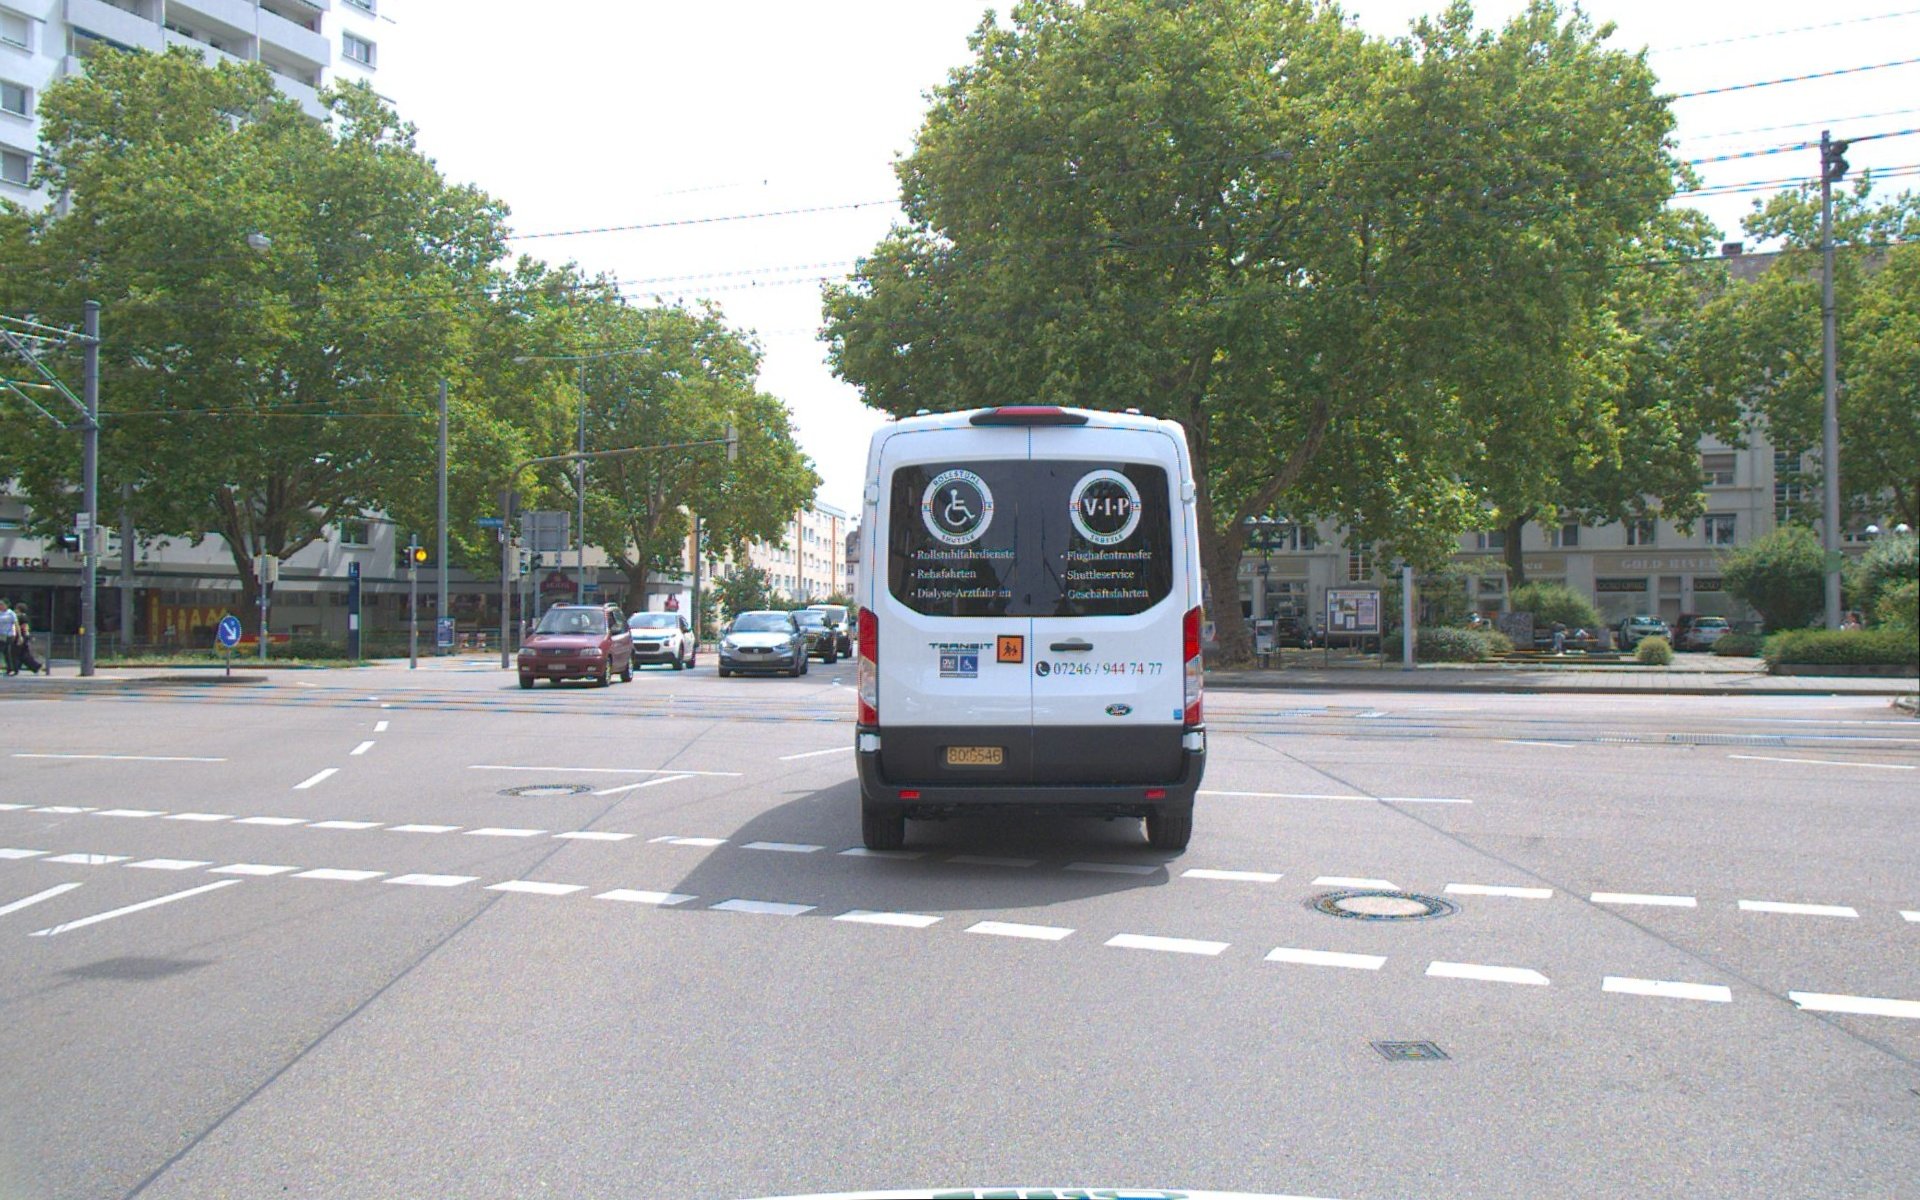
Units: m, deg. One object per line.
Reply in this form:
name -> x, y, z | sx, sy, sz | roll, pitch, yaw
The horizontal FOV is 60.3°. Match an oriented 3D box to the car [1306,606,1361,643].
car -> 17.419, 1.130, 77.284 | 1.767, 1.713, 4.001 | 0, 0, 2

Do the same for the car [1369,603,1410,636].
car -> 22.408, 1.009, 86.154 | 1.767, 1.713, 4.001 | -1, 0, 19

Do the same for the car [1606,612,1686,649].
car -> 29.790, 1.302, 71.952 | 1.952, 1.529, 4.001 | 0, 0, 2

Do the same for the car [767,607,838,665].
car -> -4.613, 1.036, 48.989 | 1.707, 1.615, 4.328 | 0, 0, 0

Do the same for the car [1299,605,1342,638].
car -> 19.122, 1.118, 87.613 | 1.767, 1.713, 4.001 | -1, 0, 19

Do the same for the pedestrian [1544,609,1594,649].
pedestrian -> 19.772, 0.949, 53.708 | 1.068, 1.257, 1.441 | -2, -1, 2

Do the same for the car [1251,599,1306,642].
car -> 14.960, 0.959, 77.784 | 1.952, 1.964, 4.001 | 0, 0, 2

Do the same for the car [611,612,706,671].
car -> -7.733, 1.032, 42.713 | 1.707, 1.452, 4.031 | 0, 0, 0

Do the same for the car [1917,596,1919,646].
car -> 38.581, 0.788, 62.548 | 3.905, 1.916, 1.857 | -1, -1, 22

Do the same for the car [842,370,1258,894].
car -> 0.336, 0.142, 11.000 | 2.138, 2.694, 4.625 | -2, 0, -4

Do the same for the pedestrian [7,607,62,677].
pedestrian -> -20.559, 0.921, 36.751 | 0.707, 1.541, 0.932 | 0, -1, -3

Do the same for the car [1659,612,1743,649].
car -> 32.009, 1.280, 71.548 | 1.952, 1.545, 4.001 | 0, 0, 2

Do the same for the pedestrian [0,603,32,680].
pedestrian -> -20.236, 0.870, 35.005 | 0.791, 1.600, 0.723 | -1, -1, 26

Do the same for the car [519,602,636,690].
car -> -7.131, 0.826, 31.129 | 1.560, 1.534, 3.804 | 0, 0, -4

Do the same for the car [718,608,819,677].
car -> -4.247, 0.926, 37.181 | 1.795, 1.452, 4.120 | 0, 0, 0

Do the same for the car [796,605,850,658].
car -> -5.243, 1.189, 63.882 | 1.707, 1.964, 4.853 | 0, 0, 0
